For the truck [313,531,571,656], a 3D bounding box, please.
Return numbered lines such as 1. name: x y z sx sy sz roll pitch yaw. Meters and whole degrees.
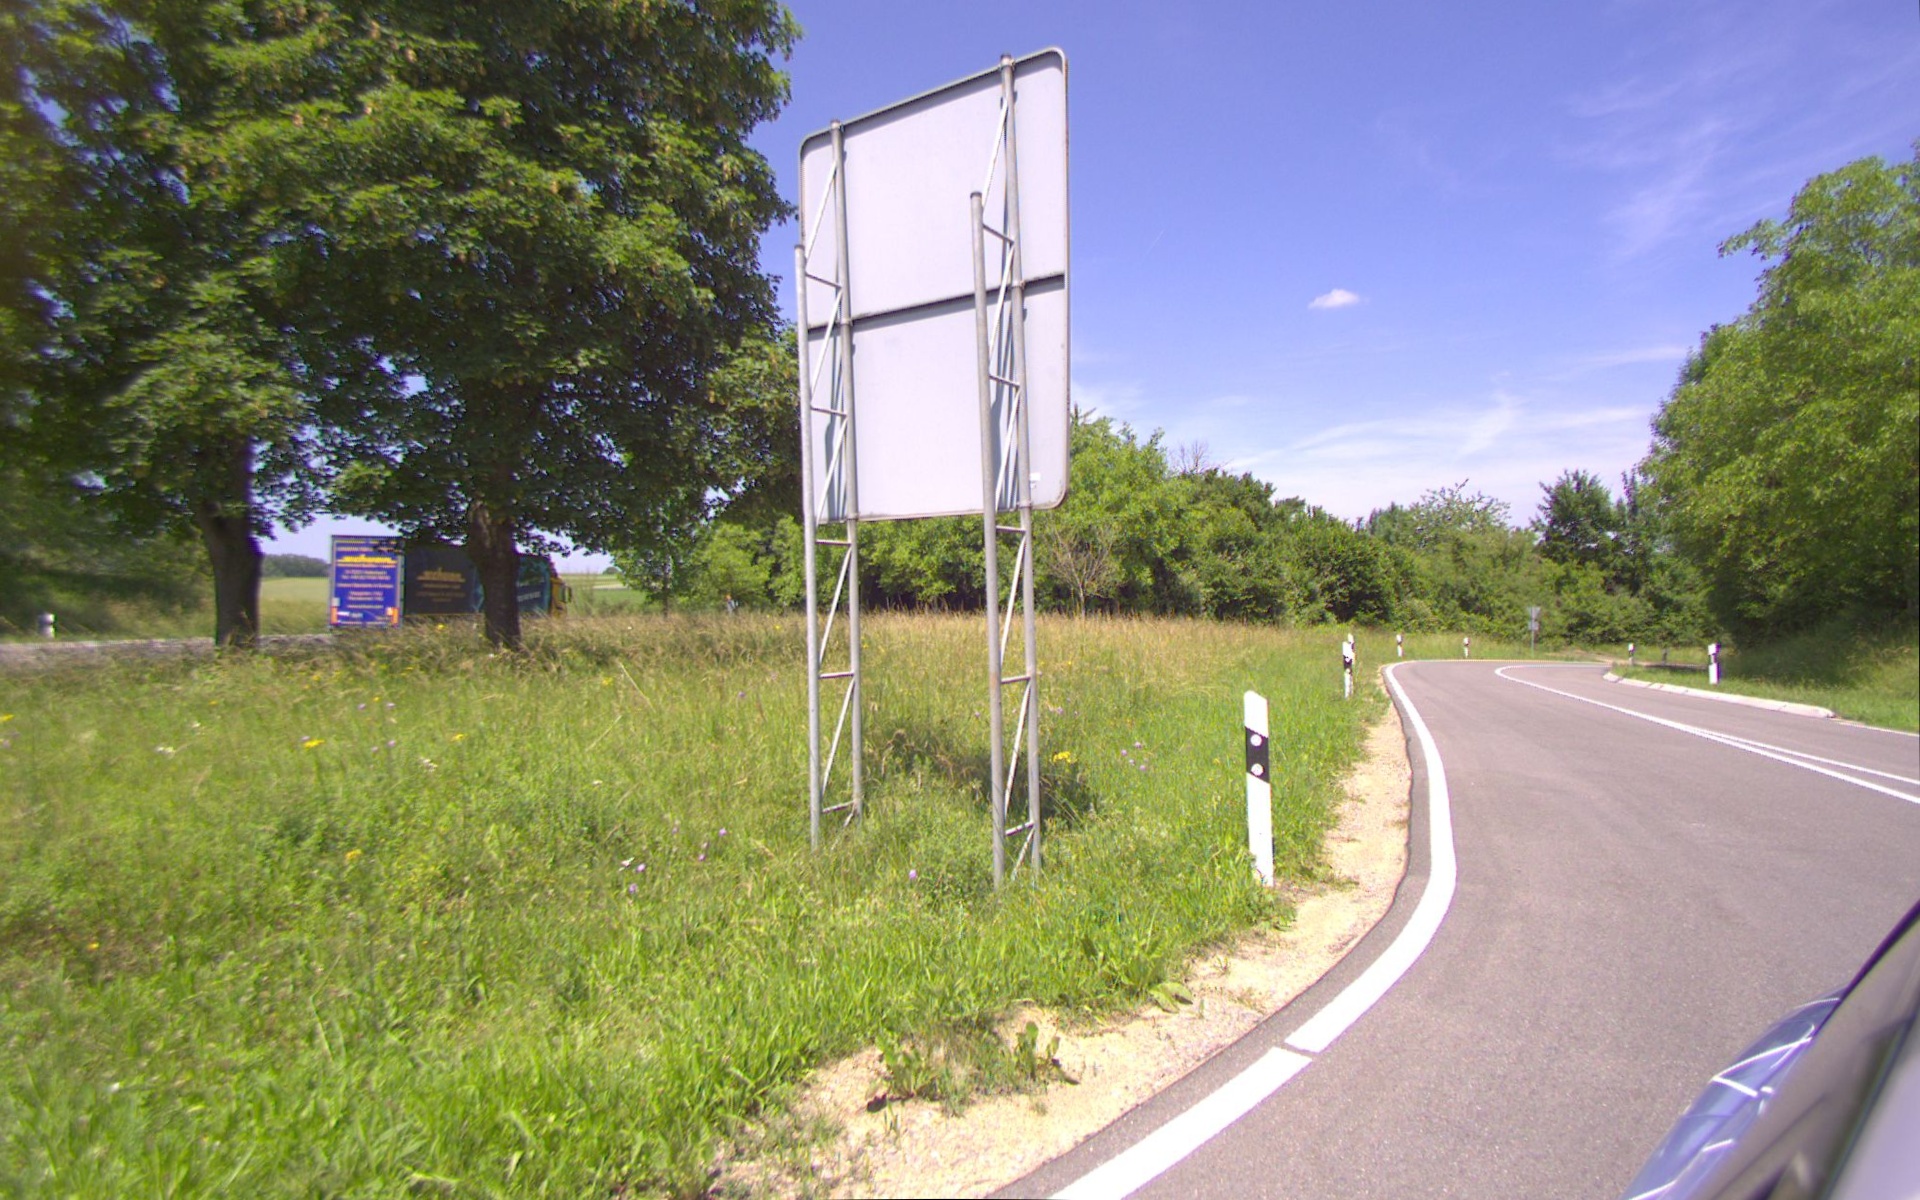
1. truck: -20.819 -0.178 42.782 2.796 4.184 16.816 1 0 -2
